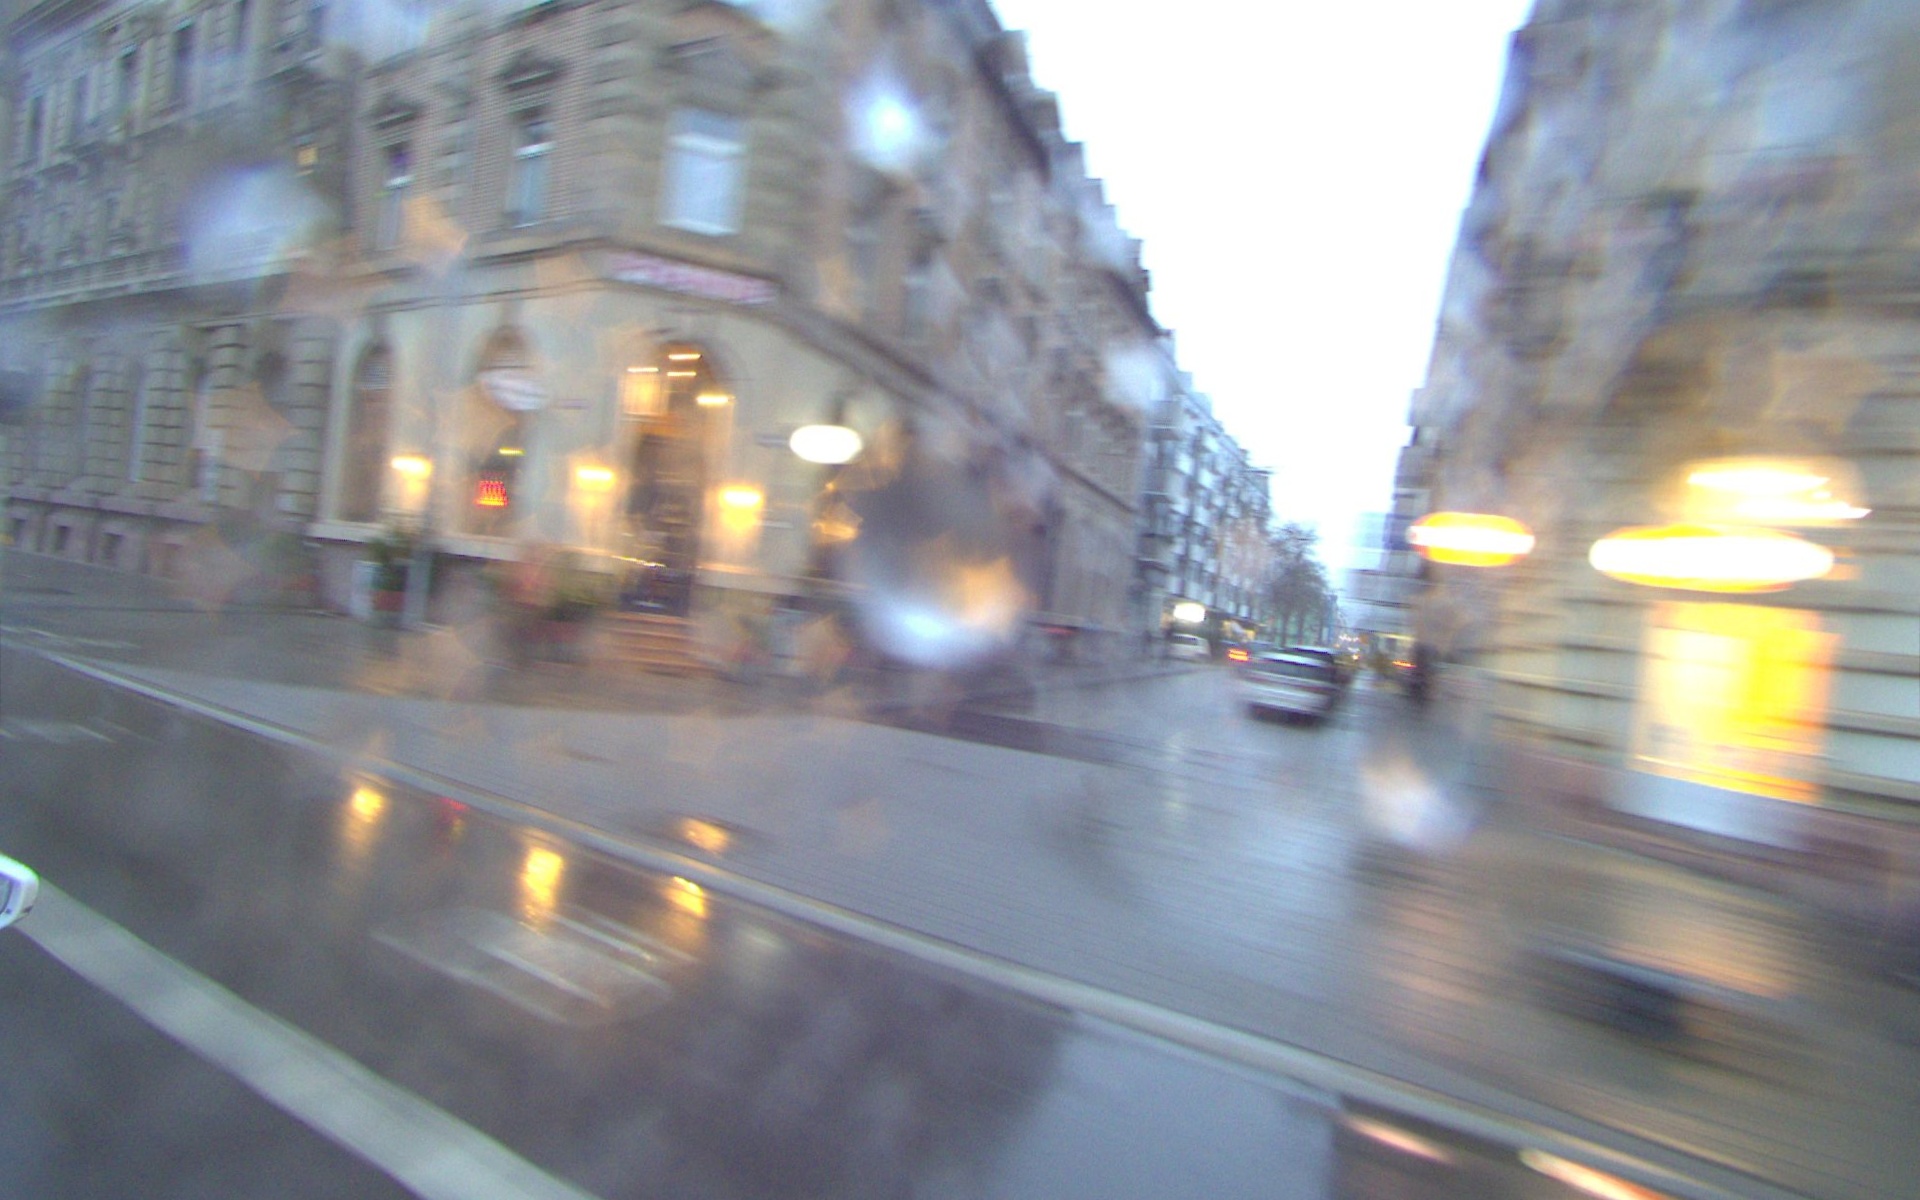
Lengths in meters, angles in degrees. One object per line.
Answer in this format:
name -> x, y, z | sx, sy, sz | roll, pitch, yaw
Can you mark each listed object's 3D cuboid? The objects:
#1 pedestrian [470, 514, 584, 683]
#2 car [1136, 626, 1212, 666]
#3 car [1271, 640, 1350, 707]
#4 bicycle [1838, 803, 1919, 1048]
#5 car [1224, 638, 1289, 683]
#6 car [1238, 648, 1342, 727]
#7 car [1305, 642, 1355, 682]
pedestrian -> -5.647, -0.011, 13.166 | 0.901, 2.038, 0.855 | 7, 0, 2
car -> 11.810, 2.530, 55.691 | 3.548, 1.748, 1.889 | 8, -1, -4
car -> 10.459, 2.138, 29.835 | 1.769, 1.641, 4.111 | 7, 0, 23
bicycle -> 4.756, 1.605, 4.151 | 0.469, 1.065, 2.094 | 6, 1, 5
car -> 12.550, 2.534, 42.372 | 1.918, 1.535, 4.276 | 7, 0, 25
car -> 7.739, 1.949, 23.368 | 1.818, 1.438, 4.191 | 7, 0, 23
car -> 16.936, 2.825, 45.947 | 1.769, 1.535, 4.277 | 7, 0, 23
